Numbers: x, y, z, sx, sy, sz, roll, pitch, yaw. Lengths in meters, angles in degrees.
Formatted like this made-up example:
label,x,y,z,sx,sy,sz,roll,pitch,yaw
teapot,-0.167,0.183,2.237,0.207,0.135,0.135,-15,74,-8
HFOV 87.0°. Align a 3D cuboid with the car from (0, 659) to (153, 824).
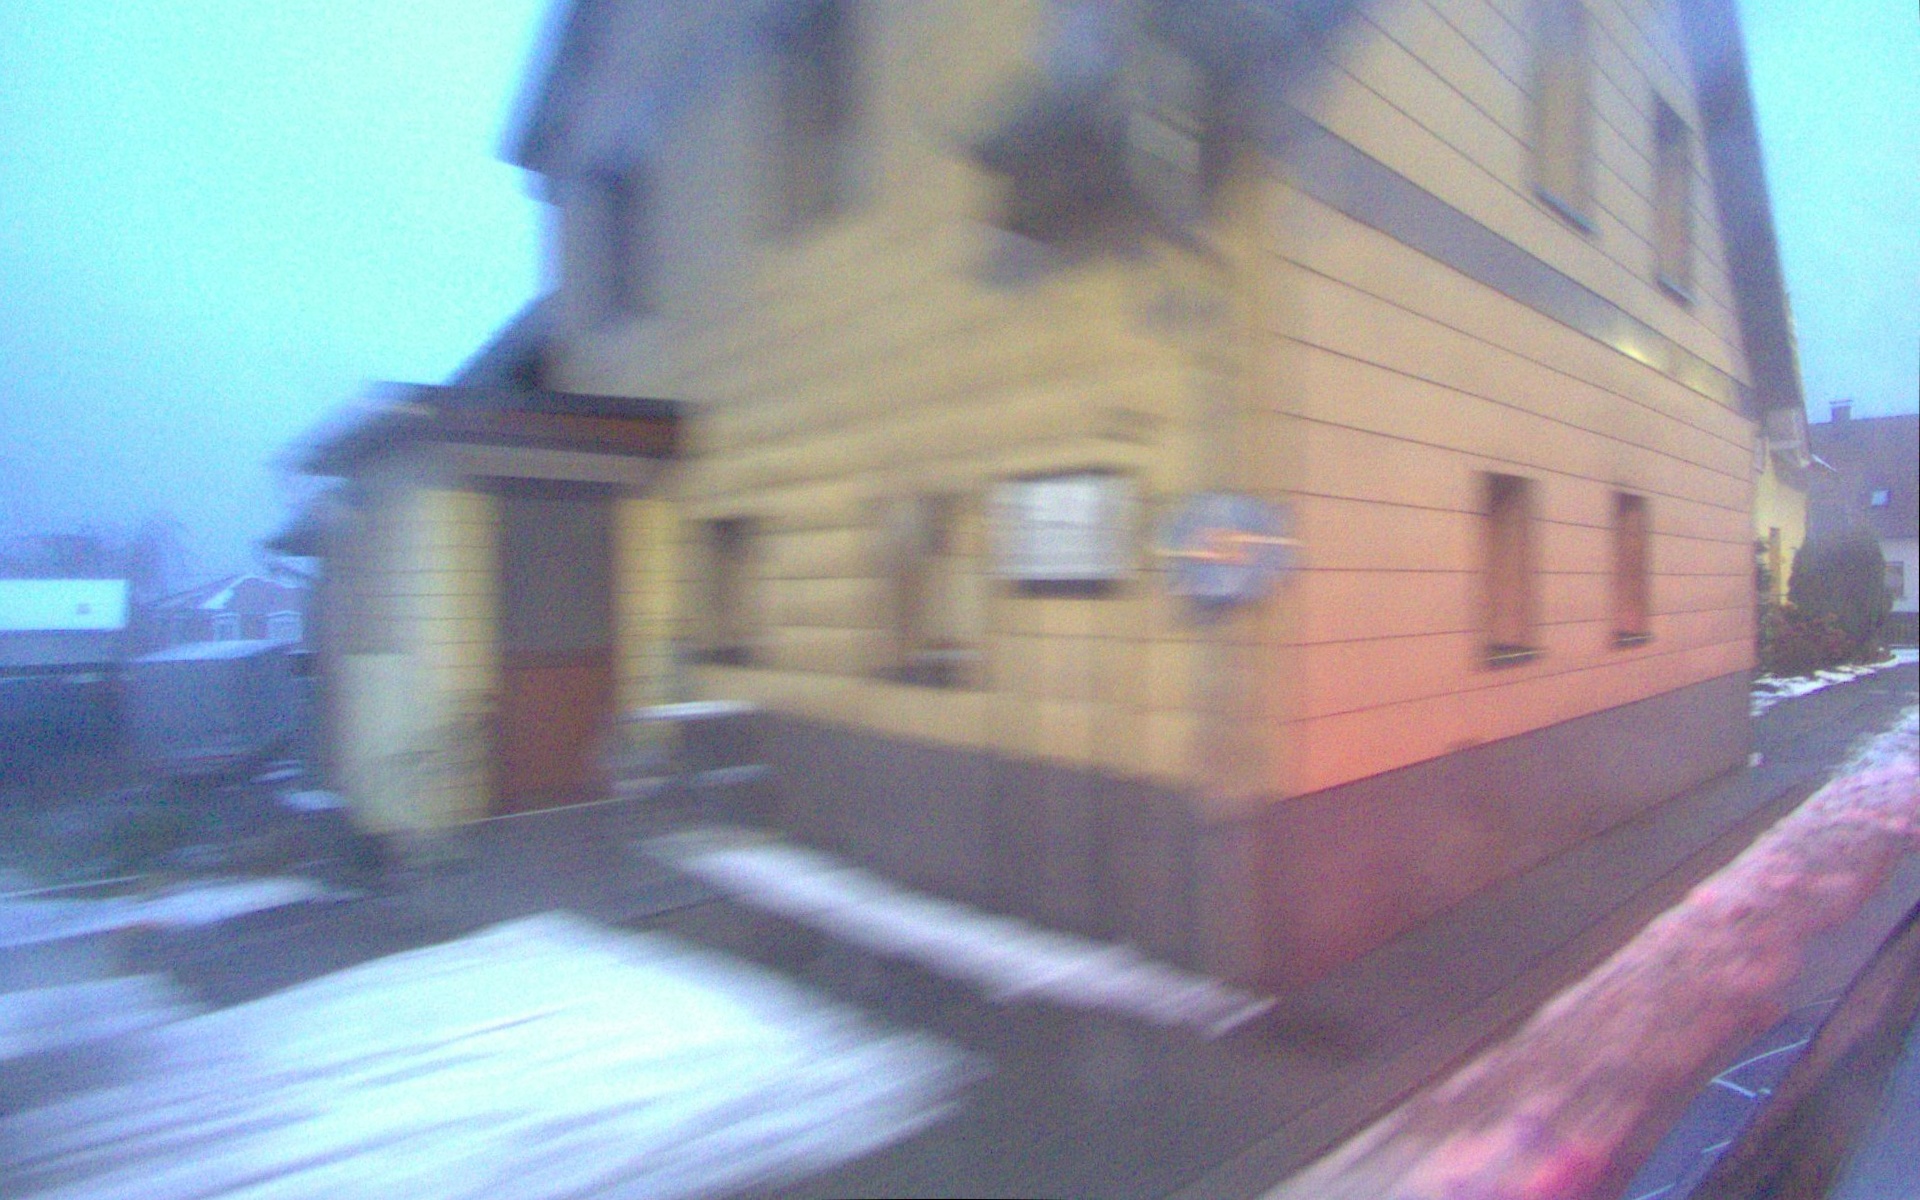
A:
label,x,y,z,sx,sy,sz,roll,pitch,yaw
car,-14.411,2.099,15.278,1.669,2.031,4.007,-2,1,-9
